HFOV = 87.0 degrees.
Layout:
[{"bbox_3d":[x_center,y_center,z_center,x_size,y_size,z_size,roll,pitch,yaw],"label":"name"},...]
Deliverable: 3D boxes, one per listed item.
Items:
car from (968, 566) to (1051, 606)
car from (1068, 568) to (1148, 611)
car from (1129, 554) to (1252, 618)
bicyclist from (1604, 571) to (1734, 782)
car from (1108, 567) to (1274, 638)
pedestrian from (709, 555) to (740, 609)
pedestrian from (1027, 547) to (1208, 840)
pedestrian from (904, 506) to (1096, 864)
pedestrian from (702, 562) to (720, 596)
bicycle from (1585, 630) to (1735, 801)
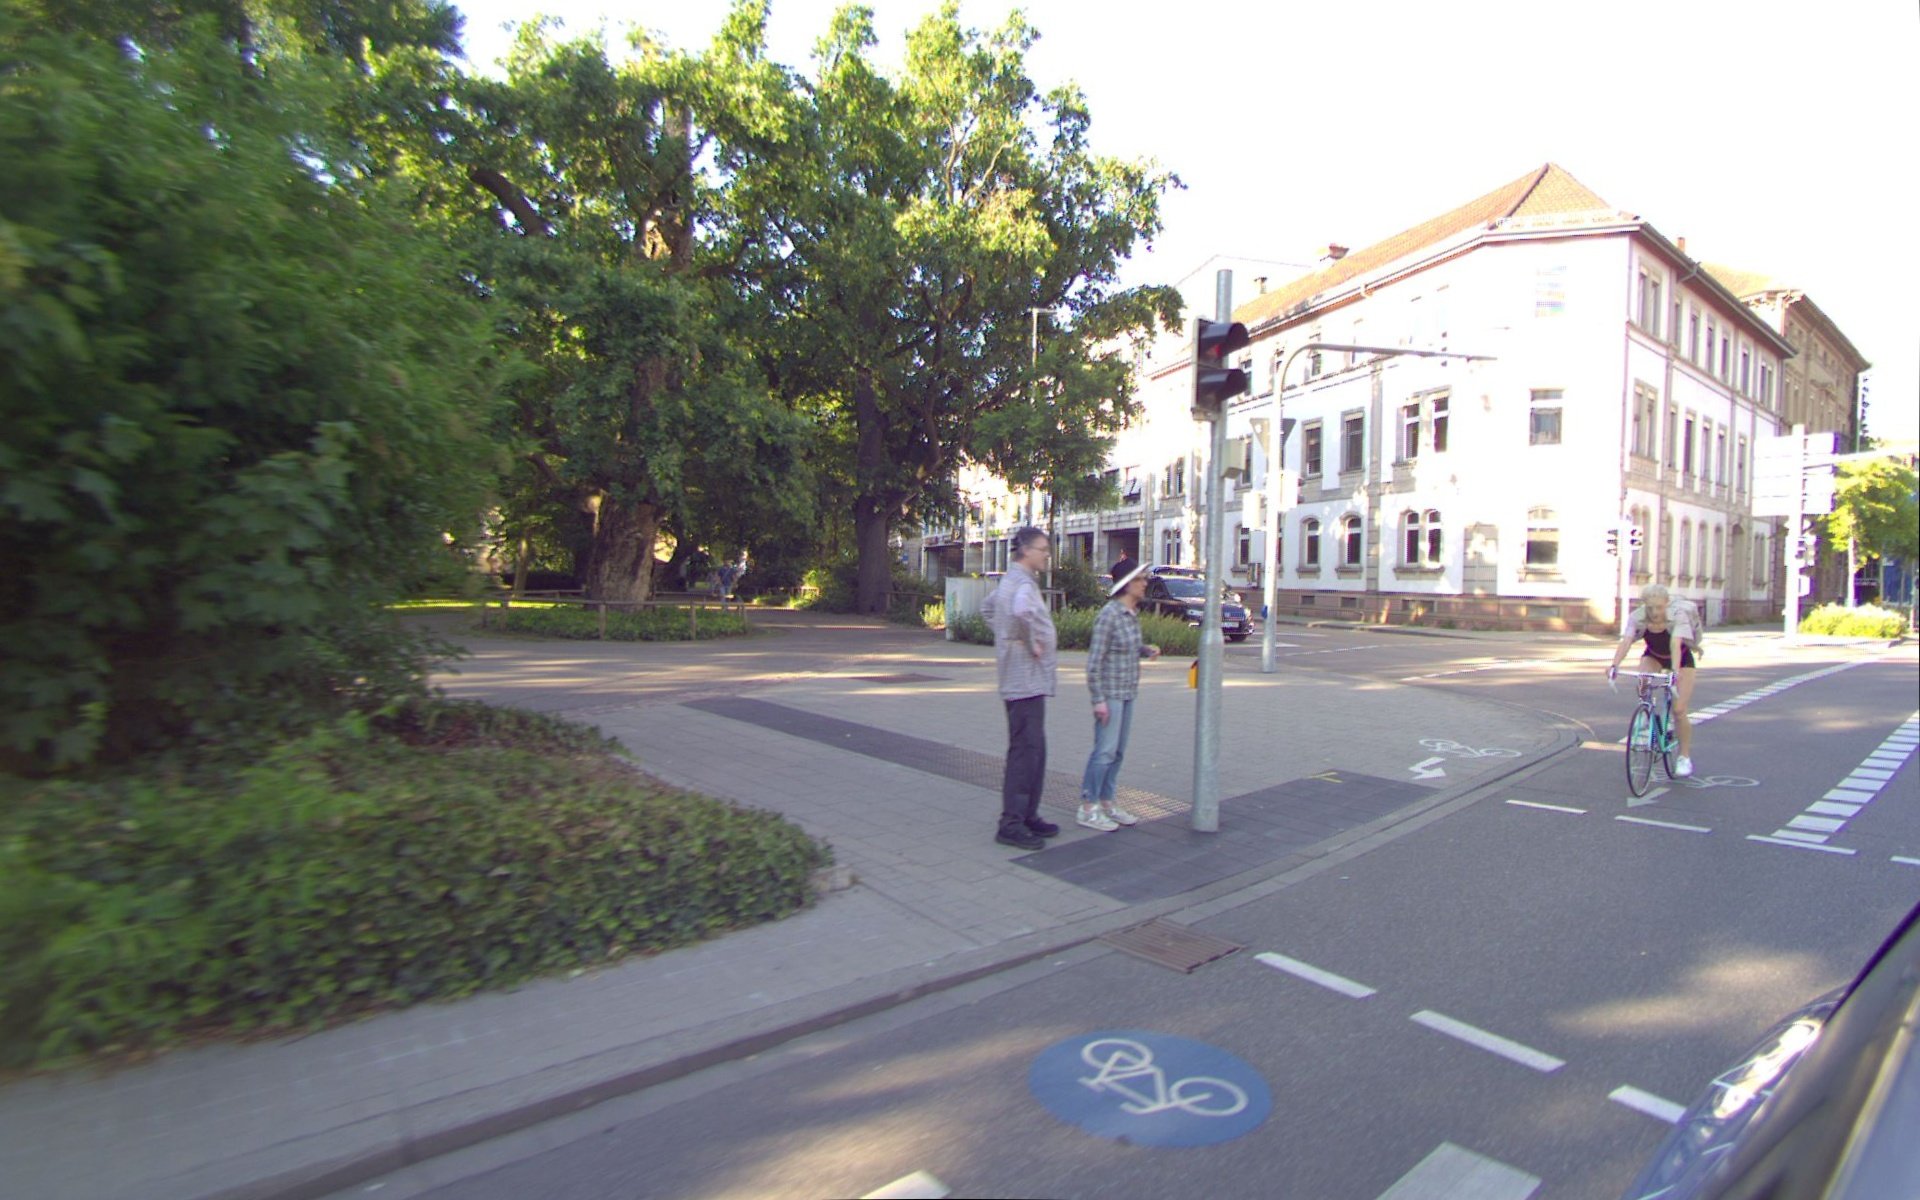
[{"bbox_3d":[1.826,-0.568,38.734,1.863,1.399,4.245,0,2,-16],"label":"car"},{"bbox_3d":[5.654,-0.439,39.040,1.702,1.530,3.538,3,1,-16],"label":"car"},{"bbox_3d":[7.229,-0.475,32.216,1.907,1.827,4.258,3,1,-16],"label":"car"},{"bbox_3d":[5.487,0.544,7.820,1.062,1.509,0.553,1,1,-41],"label":"bicyclist"},{"bbox_3d":[5.388,-0.014,24.296,1.863,1.492,4.613,0,2,-16],"label":"car"},{"bbox_3d":[-7.826,-0.598,33.632,0.769,1.750,0.808,1,3,-30],"label":"pedestrian"},{"bbox_3d":[0.985,0.520,6.314,0.765,1.656,0.759,4,3,40],"label":"pedestrian"},{"bbox_3d":[0.254,0.414,5.758,0.847,1.824,0.903,3,3,15],"label":"pedestrian"},{"bbox_3d":[-13.079,-1.116,53.087,0.769,1.750,0.808,2,2,-6],"label":"pedestrian"},{"bbox_3d":[5.466,0.830,7.856,1.811,1.111,0.521,-1,0,-41],"label":"bicycle"}]
